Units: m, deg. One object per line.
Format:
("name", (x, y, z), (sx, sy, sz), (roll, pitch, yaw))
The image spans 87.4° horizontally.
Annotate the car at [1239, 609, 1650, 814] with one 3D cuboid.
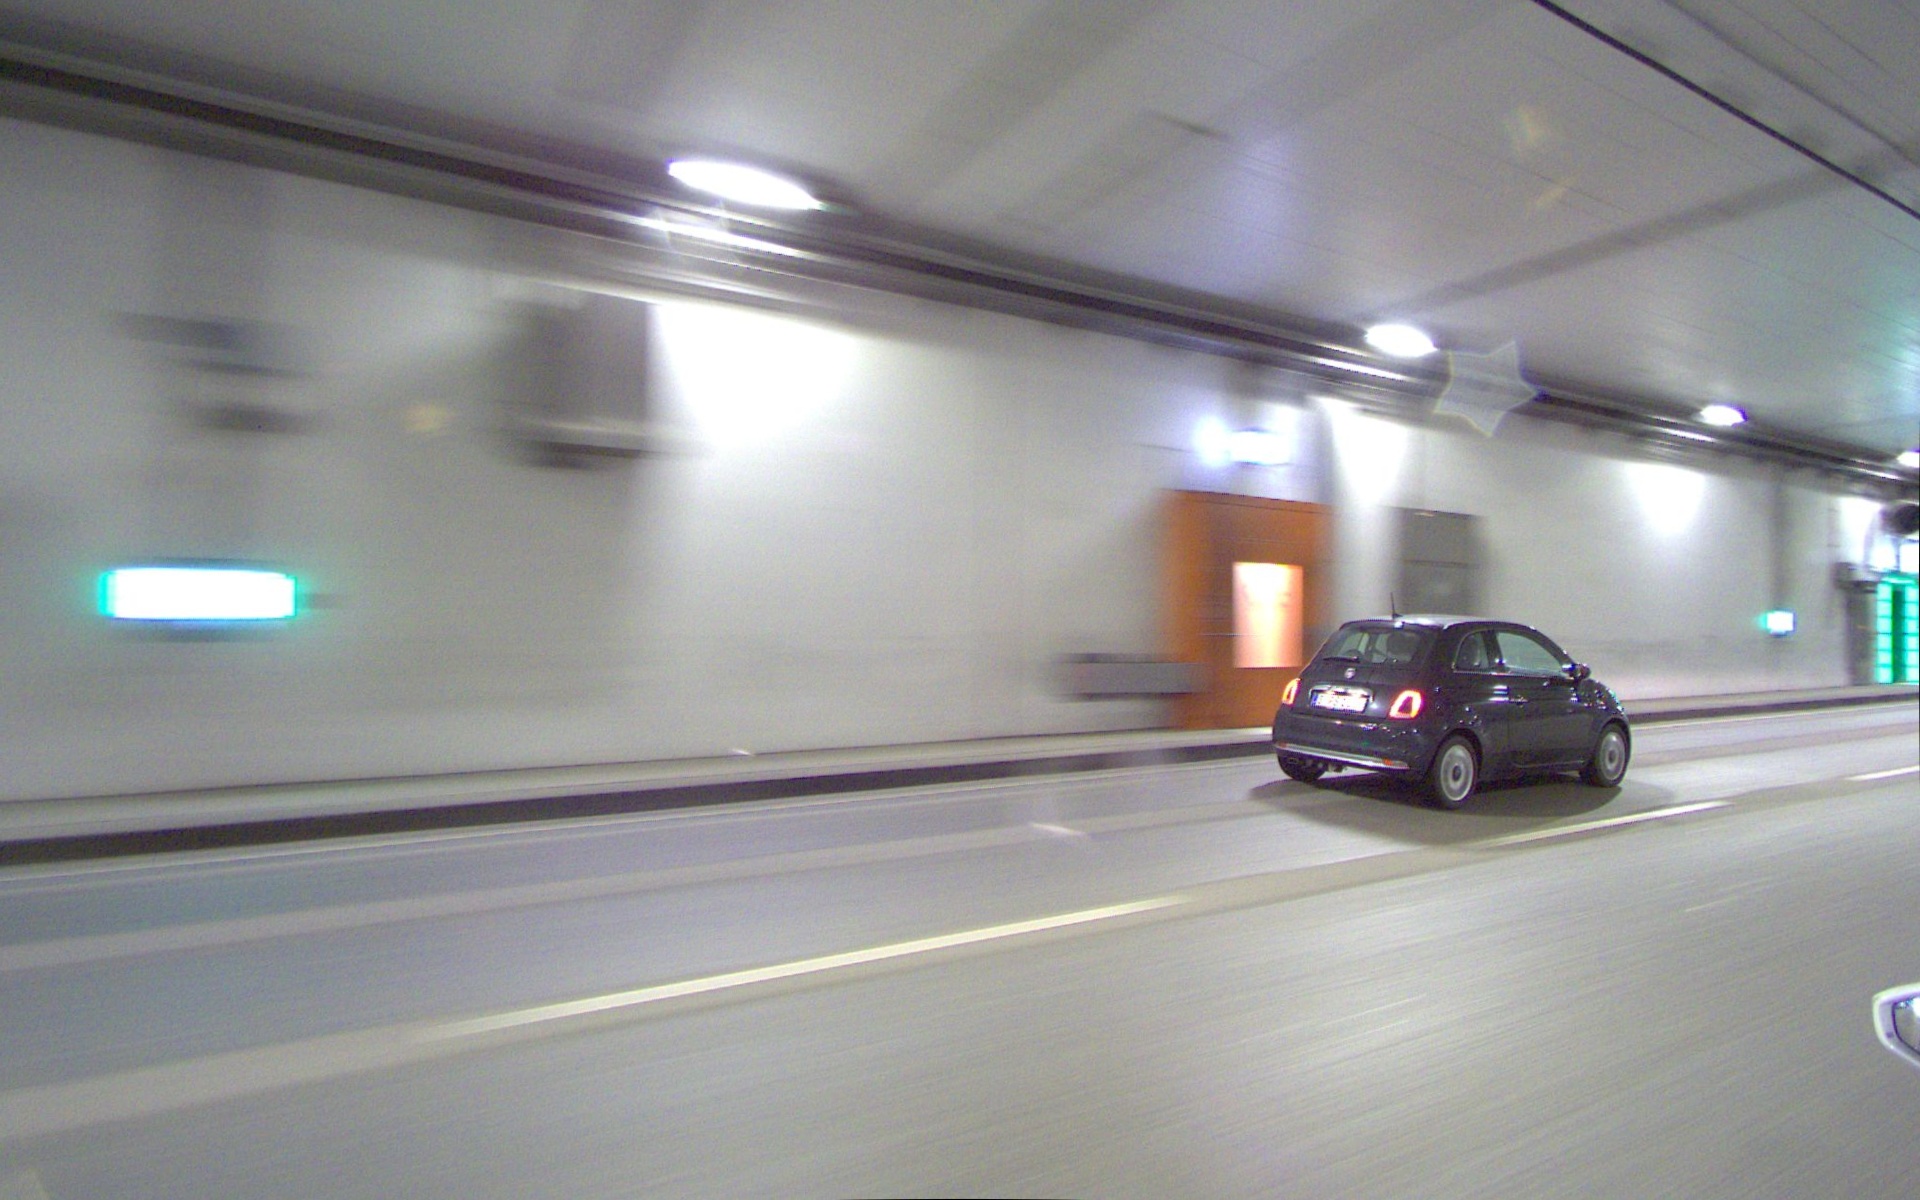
("car", (4.340, 0.841, 8.911), (3.531, 1.474, 1.604), (1, 0, -31))
